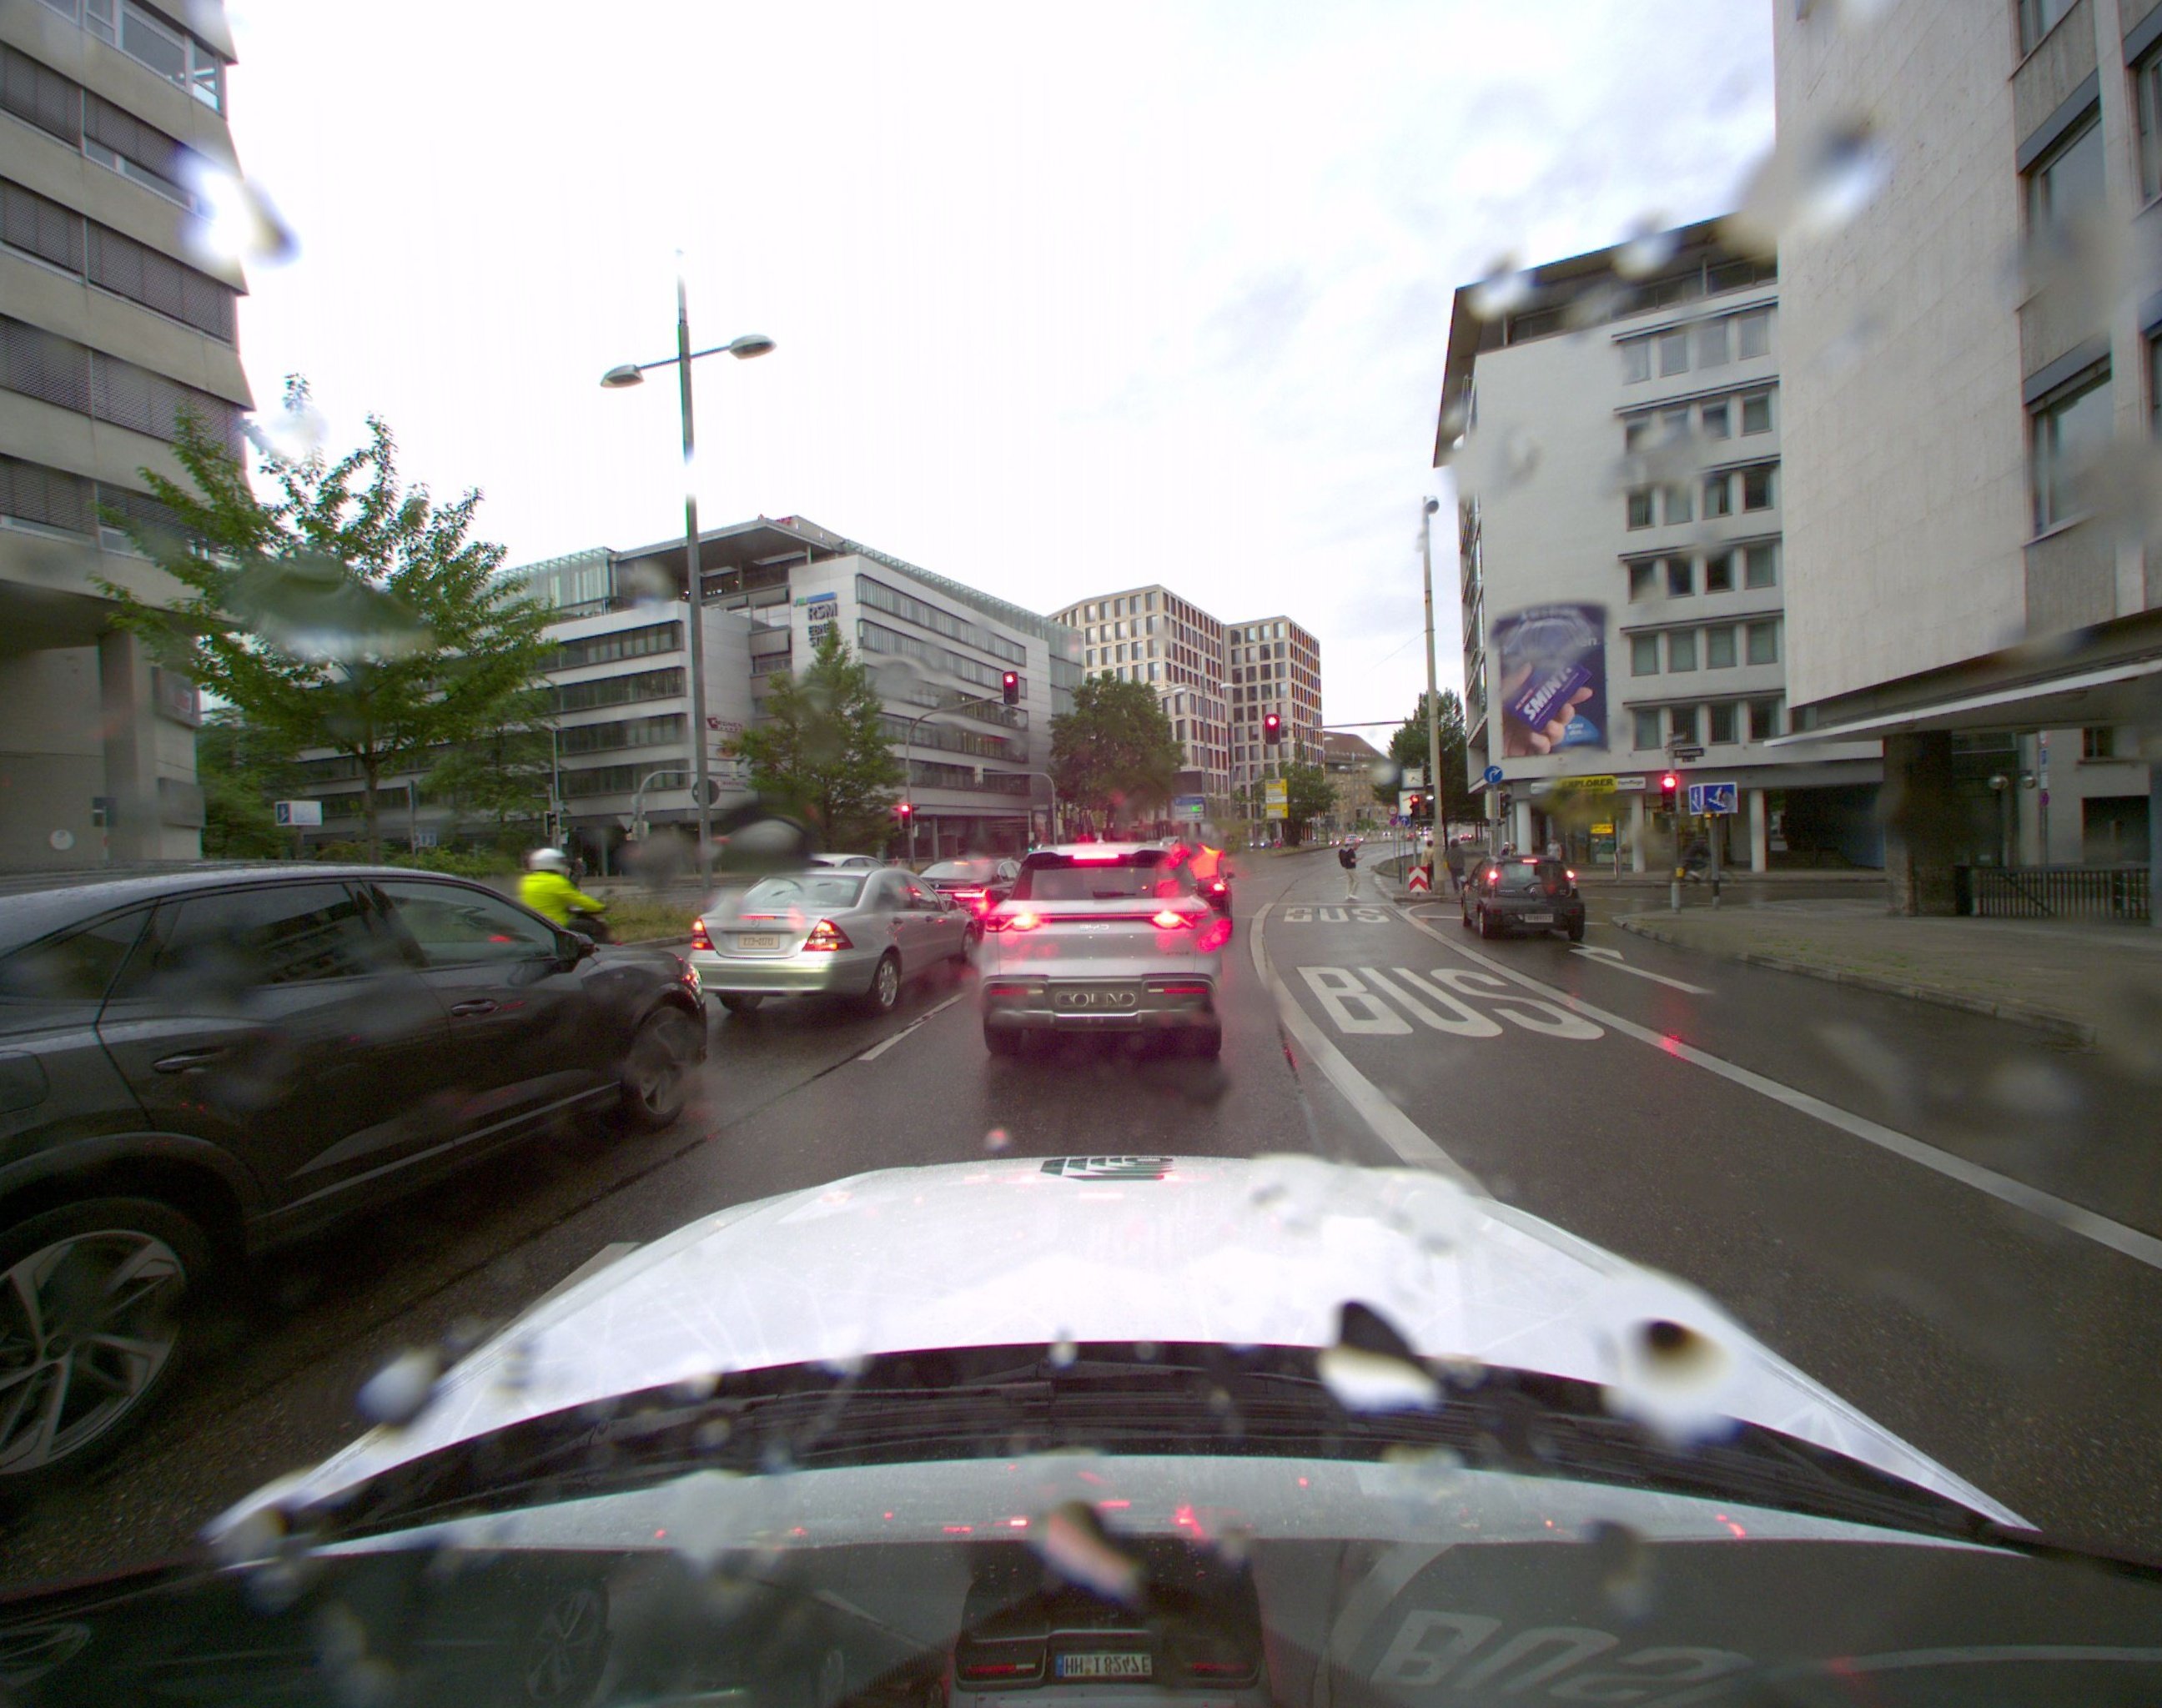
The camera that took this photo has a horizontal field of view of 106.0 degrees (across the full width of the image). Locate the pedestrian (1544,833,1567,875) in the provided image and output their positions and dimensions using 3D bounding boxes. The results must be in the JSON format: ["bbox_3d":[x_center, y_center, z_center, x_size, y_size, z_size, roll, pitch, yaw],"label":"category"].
[{"bbox_3d":[20.551,0.004,35.240,0.778,1.794,0.662,-1,0,-45],"label":"pedestrian"}]

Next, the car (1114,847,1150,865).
[{"bbox_3d":[4.019,0.184,63.644,1.675,1.385,3.888,-1,-1,21],"label":"car"}]

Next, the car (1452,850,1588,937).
[{"bbox_3d":[8.165,0.667,15.474,1.558,1.429,4.018,-1,-1,18],"label":"car"}]

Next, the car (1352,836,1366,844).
[{"bbox_3d":[54.973,-2.754,161.009,1.974,1.488,4.025,-1,1,29],"label":"car"}]

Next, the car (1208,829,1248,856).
[{"bbox_3d":[11.775,-0.874,65.042,1.975,2.014,4.876,-1,-1,25],"label":"car"}]

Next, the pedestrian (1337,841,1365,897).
[{"bbox_3d":[8.331,0.460,25.176,0.764,1.731,0.599,-1,0,16],"label":"pedestrian"}]

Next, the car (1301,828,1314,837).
[{"bbox_3d":[45.295,-4.295,162.760,1.590,1.741,3.467,-1,-1,34],"label":"car"}]

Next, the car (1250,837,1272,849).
[{"bbox_3d":[25.448,-1.553,114.953,1.974,1.488,4.025,-1,1,29],"label":"car"}]

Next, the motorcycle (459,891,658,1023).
[{"bbox_3d":[-5.541,1.033,8.826,0.797,1.185,2.029,0,-1,2],"label":"motorcycle"}]

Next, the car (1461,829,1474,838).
[{"bbox_3d":[70.727,-3.697,148.957,1.677,1.486,4.025,-1,-1,32],"label":"car"}]

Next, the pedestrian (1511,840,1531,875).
[{"bbox_3d":[19.486,0.162,36.078,0.657,1.543,0.618,-1,0,-45],"label":"pedestrian"}]

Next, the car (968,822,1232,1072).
[{"bbox_3d":[0.260,0.645,7.507,1.768,1.679,4.004,-1,-1,4],"label":"car"}]

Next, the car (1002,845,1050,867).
[{"bbox_3d":[-4.150,0.112,62.090,1.976,1.610,4.022,-1,0,22],"label":"car"}]

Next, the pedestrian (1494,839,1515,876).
[{"bbox_3d":[19.073,0.140,36.705,0.657,1.655,0.662,-1,0,-45],"label":"pedestrian"}]

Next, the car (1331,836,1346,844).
[{"bbox_3d":[49.426,-2.688,156.156,1.974,1.488,4.025,-1,1,29],"label":"car"}]

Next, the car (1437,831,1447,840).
[{"bbox_3d":[88.515,-4.464,199.765,1.975,2.013,4.025,-1,0,29],"label":"car"}]

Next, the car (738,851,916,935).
[{"bbox_3d":[-4.962,0.706,16.519,1.696,1.486,4.013,-1,-1,11],"label":"car"}]

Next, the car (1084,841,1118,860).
[{"bbox_3d":[1.693,-0.303,66.424,1.630,1.536,4.172,-1,0,18],"label":"car"}]

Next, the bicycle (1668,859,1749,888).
[{"bbox_3d":[20.196,0.635,26.242,2.008,0.888,0.405,-1,0,19],"label":"bicycle"}]

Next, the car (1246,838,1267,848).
[{"bbox_3d":[26.331,-1.654,122.157,1.974,1.488,4.025,-1,1,29],"label":"car"}]

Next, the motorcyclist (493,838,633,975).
[{"bbox_3d":[-5.533,0.538,8.779,0.767,1.380,1.119,0,-1,2],"label":"motorcyclist"}]

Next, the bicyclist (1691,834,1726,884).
[{"bbox_3d":[20.203,0.161,26.234,0.761,1.569,0.535,-1,0,20],"label":"bicyclist"}]

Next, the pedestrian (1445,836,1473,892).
[{"bbox_3d":[12.317,0.314,26.568,0.742,1.798,0.821,-1,1,22],"label":"pedestrian"}]

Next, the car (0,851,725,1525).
[{"bbox_3d":[-3.231,0.764,3.186,1.642,1.521,4.274,-1,0,2],"label":"car"}]

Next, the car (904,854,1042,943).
[{"bbox_3d":[-1.923,0.769,15.703,1.561,1.486,4.010,-1,-1,9],"label":"car"}]

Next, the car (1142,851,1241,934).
[{"bbox_3d":[2.375,0.710,16.703,1.682,1.486,4.013,-1,-1,12],"label":"car"}]

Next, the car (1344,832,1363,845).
[{"bbox_3d":[33.914,-1.929,101.357,1.871,1.643,4.023,-1,0,24],"label":"car"}]

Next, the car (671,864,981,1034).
[{"bbox_3d":[-2.467,0.838,9.039,1.561,1.407,4.120,-1,-1,10],"label":"car"}]

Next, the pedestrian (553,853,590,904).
[{"bbox_3d":[-17.059,0.813,27.277,0.672,1.683,0.766,-1,0,15],"label":"pedestrian"}]

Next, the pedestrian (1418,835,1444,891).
[{"bbox_3d":[11.628,0.291,27.092,0.742,1.798,0.821,-1,1,22],"label":"pedestrian"}]
